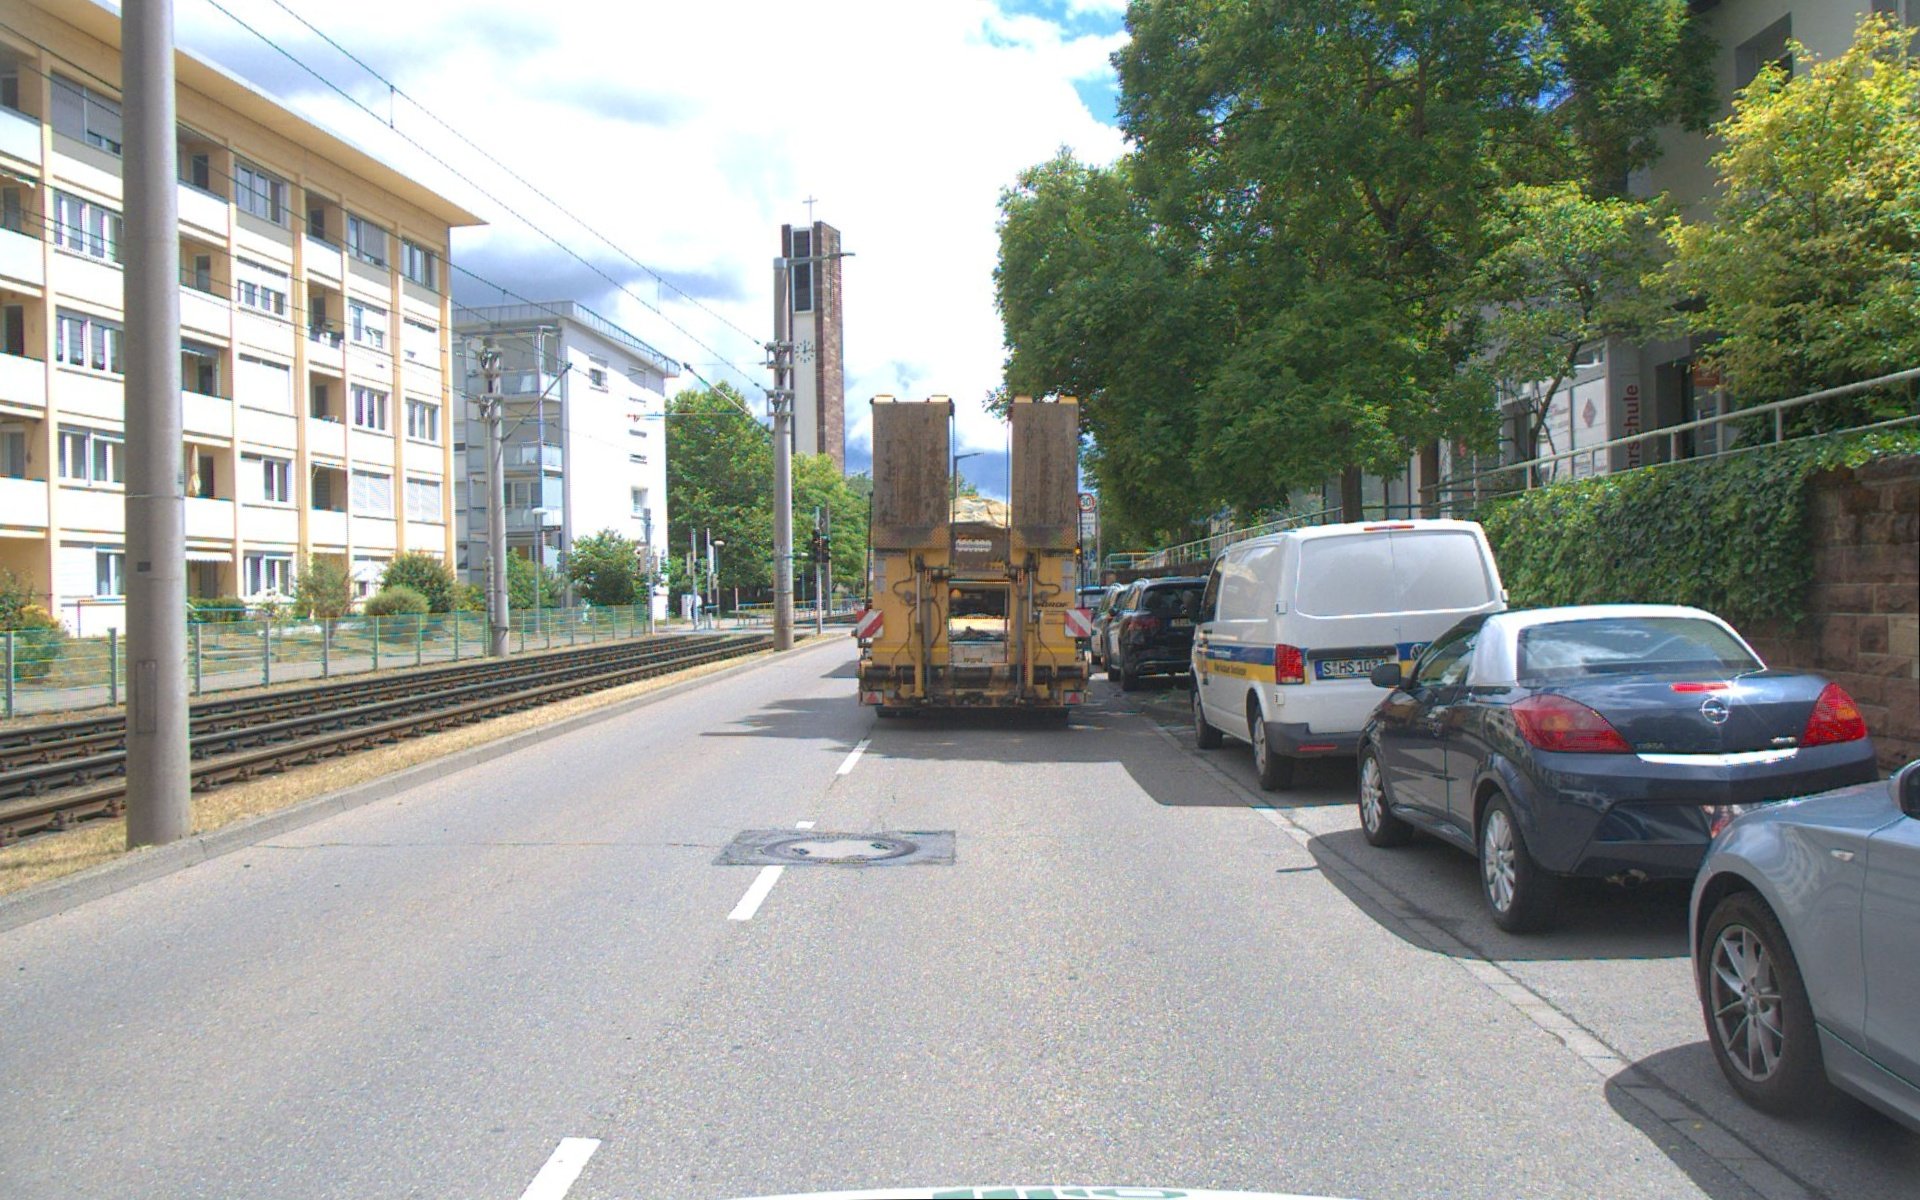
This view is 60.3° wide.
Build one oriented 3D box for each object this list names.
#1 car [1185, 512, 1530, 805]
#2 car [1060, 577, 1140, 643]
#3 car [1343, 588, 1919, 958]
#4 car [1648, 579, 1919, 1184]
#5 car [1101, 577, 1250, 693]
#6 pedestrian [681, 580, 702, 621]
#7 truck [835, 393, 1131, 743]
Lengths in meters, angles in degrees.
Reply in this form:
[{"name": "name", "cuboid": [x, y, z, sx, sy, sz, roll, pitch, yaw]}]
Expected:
[{"name": "car", "cuboid": [3.111, 0.381, 13.927, 1.762, 2.002, 4.590, -2, 1, 0]}, {"name": "car", "cuboid": [3.685, 0.224, 44.135, 1.762, 1.651, 4.291, -1, 1, 0]}, {"name": "car", "cuboid": [3.168, 0.687, 8.512, 1.587, 1.430, 3.650, -2, 1, 1]}, {"name": "car", "cuboid": [3.138, 0.674, 3.384, 1.656, 1.430, 4.068, -2, 1, -1]}, {"name": "car", "cuboid": [3.268, 0.475, 25.842, 1.762, 1.651, 4.291, -1, 1, 0]}, {"name": "pedestrian", "cuboid": [-13.784, 0.009, 85.015, 0.936, 2.049, 1.174, -1, 1, -15]}, {"name": "truck", "cuboid": [0.118, -0.421, 23.535, 3.060, 3.626, 12.457, -1, 1, -1]}]
